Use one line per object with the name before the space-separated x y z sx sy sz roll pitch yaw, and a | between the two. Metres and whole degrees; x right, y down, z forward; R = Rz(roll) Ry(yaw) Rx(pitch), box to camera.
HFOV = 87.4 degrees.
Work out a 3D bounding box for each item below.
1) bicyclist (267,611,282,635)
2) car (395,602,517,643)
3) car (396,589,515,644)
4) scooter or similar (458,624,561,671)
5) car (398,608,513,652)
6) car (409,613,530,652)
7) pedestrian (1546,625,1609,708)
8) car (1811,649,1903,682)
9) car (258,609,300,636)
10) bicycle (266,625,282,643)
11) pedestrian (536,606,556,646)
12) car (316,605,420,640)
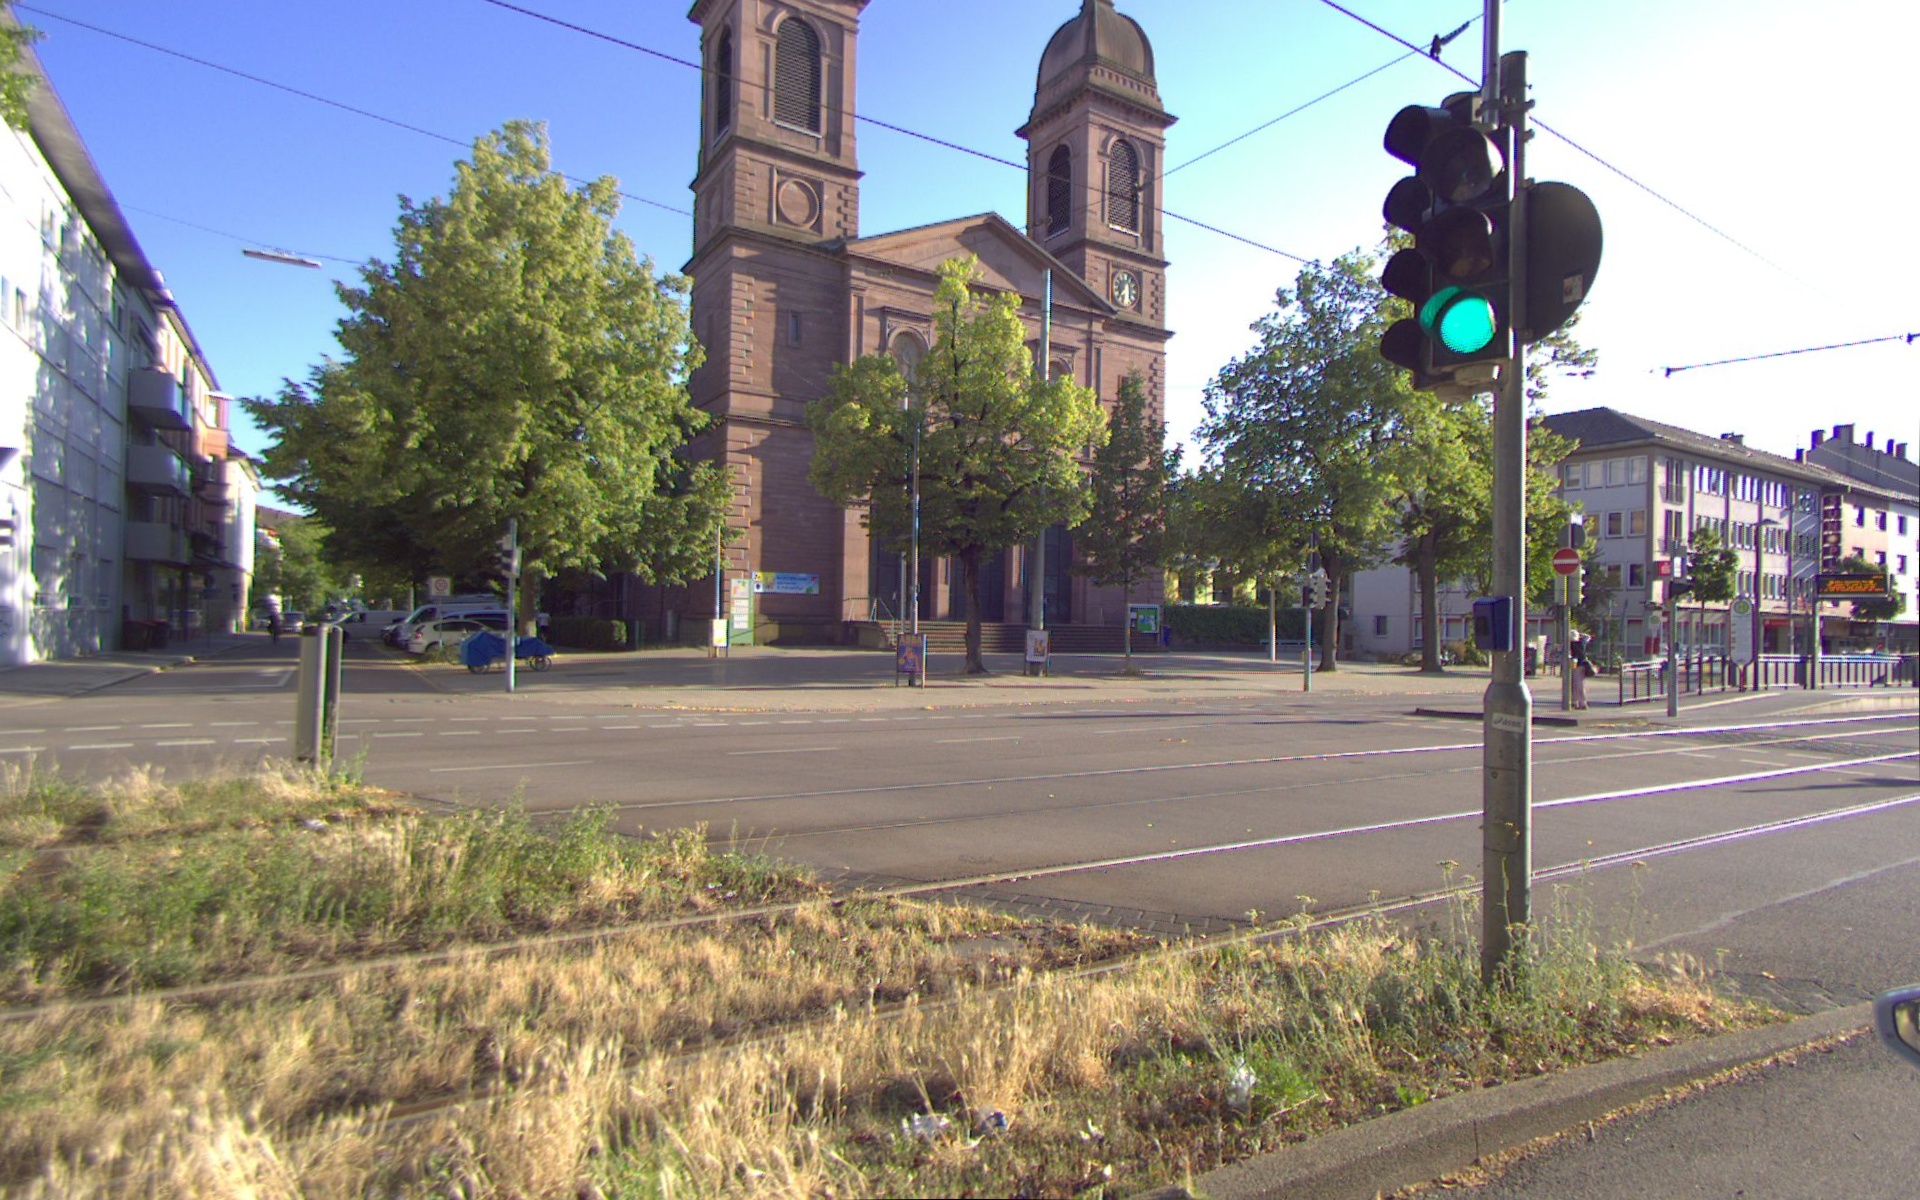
bicyclist | -39.449 1.297 57.802 0.626 1.348 0.961 2 -1 -31
car | -22.343 1.008 44.578 4.658 1.684 1.983 2 -1 -32
car | -24.779 0.832 49.388 5.057 2.551 1.983 2 -1 -32
scooter or similar | -12.219 1.273 27.245 2.420 1.141 1.087 -1 0 -32
car | -20.162 1.199 40.183 3.956 1.639 1.875 2 -1 -32
car | -18.604 1.212 38.136 3.955 1.416 1.801 1 -1 -32
pedestrian | 13.735 1.465 22.353 0.822 1.783 0.915 2 -1 -30
car | 49.900 3.625 55.918 3.440 1.702 1.772 1 -1 5
car | -54.761 1.799 80.680 1.986 2.040 5.357 2 -1 -43
bicycle | -39.439 1.936 57.774 0.625 0.993 1.973 2 -1 -31
pedestrian | -18.817 1.171 45.650 0.685 1.789 0.733 2 -1 -32
car | -36.852 1.402 62.592 5.377 2.040 1.978 2 -1 -38
